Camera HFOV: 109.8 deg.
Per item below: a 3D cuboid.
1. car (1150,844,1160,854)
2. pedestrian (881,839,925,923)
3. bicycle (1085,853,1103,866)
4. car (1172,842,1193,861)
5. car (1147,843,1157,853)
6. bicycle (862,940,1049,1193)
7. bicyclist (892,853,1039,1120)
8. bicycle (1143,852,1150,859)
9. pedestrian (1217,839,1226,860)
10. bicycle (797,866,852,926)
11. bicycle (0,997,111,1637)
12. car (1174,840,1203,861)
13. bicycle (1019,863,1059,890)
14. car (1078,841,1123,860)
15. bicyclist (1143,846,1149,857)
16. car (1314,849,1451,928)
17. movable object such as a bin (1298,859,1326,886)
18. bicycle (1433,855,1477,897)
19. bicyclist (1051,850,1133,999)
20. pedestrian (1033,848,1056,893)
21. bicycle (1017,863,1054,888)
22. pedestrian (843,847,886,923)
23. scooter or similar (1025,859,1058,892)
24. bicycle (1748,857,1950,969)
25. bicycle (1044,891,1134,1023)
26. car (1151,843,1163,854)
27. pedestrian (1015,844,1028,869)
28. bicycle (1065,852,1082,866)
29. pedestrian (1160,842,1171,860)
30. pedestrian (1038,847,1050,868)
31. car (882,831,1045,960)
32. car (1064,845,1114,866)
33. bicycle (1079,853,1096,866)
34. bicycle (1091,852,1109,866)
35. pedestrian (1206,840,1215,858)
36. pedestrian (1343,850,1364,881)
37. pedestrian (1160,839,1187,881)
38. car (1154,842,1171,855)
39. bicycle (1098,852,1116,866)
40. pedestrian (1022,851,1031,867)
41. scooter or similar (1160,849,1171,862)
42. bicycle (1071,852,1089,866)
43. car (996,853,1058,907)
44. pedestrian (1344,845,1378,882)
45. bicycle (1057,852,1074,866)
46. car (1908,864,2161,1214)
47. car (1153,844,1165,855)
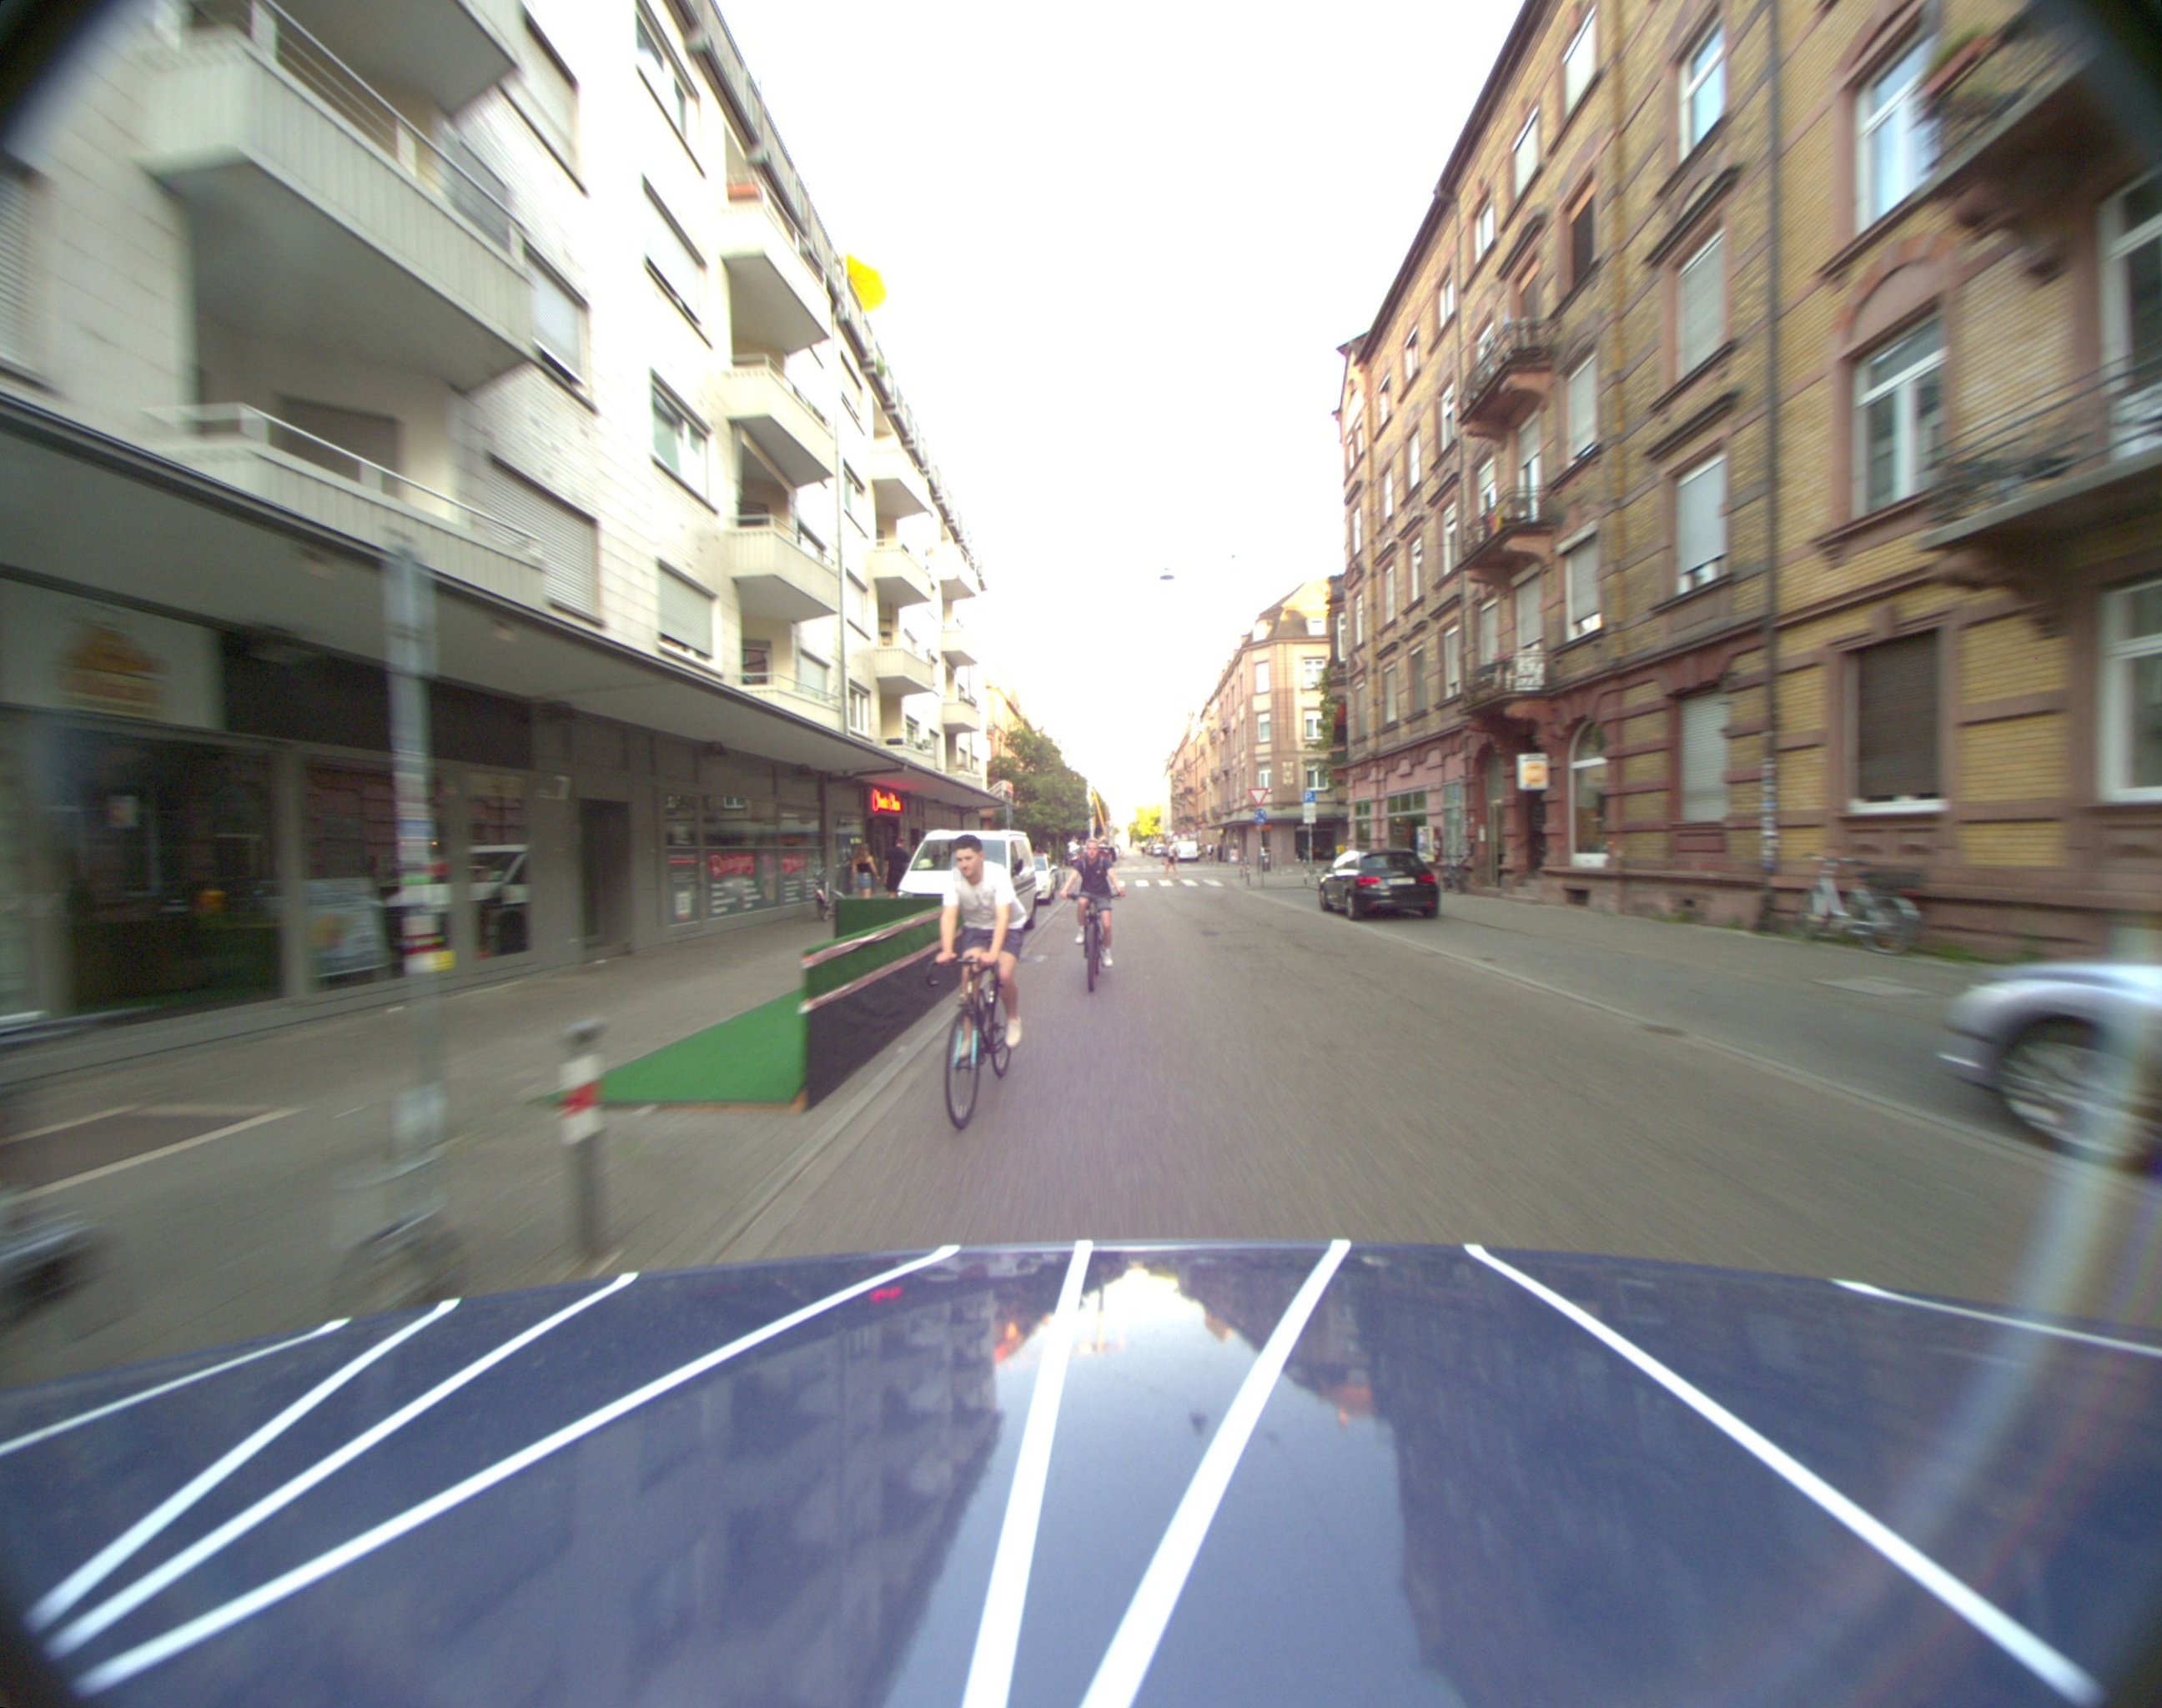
[{"bbox_3d":[14.556,-1.035,148.679,1.867,1.729,3.800,-2,2,6],"label":"car"},{"bbox_3d":[-3.932,0.574,16.819,0.710,1.818,0.860,0,2,3],"label":"pedestrian"},{"bbox_3d":[1.123,0.460,65.025,0.666,1.125,2.111,0,1,-24],"label":"bicycle"},{"bbox_3d":[10.614,-0.295,79.752,1.879,1.893,4.327,-2,1,4],"label":"car"},{"bbox_3d":[14.413,-1.234,154.443,1.907,1.729,3.850,-2,2,6],"label":"car"},{"bbox_3d":[-0.681,1.200,4.836,0.657,1.012,1.918,-2,2,6],"label":"bicycle"},{"bbox_3d":[-0.689,0.771,4.837,0.650,1.500,0.953,-2,2,6],"label":"bicyclist"},{"bbox_3d":[9.920,0.244,115.328,0.754,1.124,1.975,-2,0,-3],"label":"bicycle"},{"bbox_3d":[12.138,-0.354,65.628,0.654,1.768,0.693,-2,0,21],"label":"pedestrian"},{"bbox_3d":[-5.582,0.882,16.636,0.913,1.189,1.709,0,1,-10],"label":"bicycle"},{"bbox_3d":[-3.281,1.145,2.091,1.939,1.128,0.658,2,2,40],"label":"bicycle"},{"bbox_3d":[10.373,-0.365,73.615,2.141,1.947,4.769,-2,1,2],"label":"car"},{"bbox_3d":[-1.637,0.867,29.802,1.481,0.996,0.511,0,2,10],"label":"bicycle"},{"bbox_3d":[2.435,-0.510,96.412,5.151,2.182,2.334,-3,2,-22],"label":"car"},{"bbox_3d":[9.897,-0.334,115.323,0.754,1.631,1.201,-2,0,-3],"label":"bicyclist"},{"bbox_3d":[6.269,0.640,16.232,1.697,1.412,3.856,-2,0,6],"label":"car"},{"bbox_3d":[8.333,0.666,27.440,0.763,0.910,0.729,-2,2,0],"label":"movable object such as a bin"},{"bbox_3d":[10.001,0.562,20.383,0.426,1.047,1.899,-2,1,7],"label":"bicycle"},{"bbox_3d":[0.143,0.750,8.512,0.793,1.562,0.826,-3,0,5],"label":"bicyclist"},{"bbox_3d":[-1.341,0.593,27.886,0.648,1.591,0.590,-1,2,-37],"label":"pedestrian"},{"bbox_3d":[-1.805,0.857,30.289,1.421,0.978,0.510,0,2,0],"label":"bicycle"},{"bbox_3d":[-4.844,0.674,17.042,0.710,1.656,0.744,0,2,3],"label":"pedestrian"},{"bbox_3d":[-1.423,0.786,27.631,0.535,1.164,1.166,-1,-1,43],"label":"scooter or similar"},{"bbox_3d":[9.248,0.645,9.285,0.528,1.164,2.048,-3,0,6],"label":"bicycle"},{"bbox_3d":[0.157,1.056,8.511,0.793,1.133,2.344,-3,0,5],"label":"bicycle"},{"bbox_3d":[13.440,-0.912,133.626,1.997,1.729,4.001,-2,2,6],"label":"car"},{"bbox_3d":[-4.515,0.205,57.732,0.673,1.858,0.911,-2,2,17],"label":"pedestrian"},{"bbox_3d":[-0.622,0.422,64.127,0.666,1.158,2.111,0,1,-24],"label":"bicycle"},{"bbox_3d":[7.597,-0.257,68.272,0.809,1.650,0.672,-1,1,-4],"label":"pedestrian"},{"bbox_3d":[-2.785,0.281,57.416,0.537,1.597,0.870,-1,0,30],"label":"pedestrian"},{"bbox_3d":[-1.938,0.618,14.199,1.963,1.962,5.003,0,0,4],"label":"car"},{"bbox_3d":[0.694,0.093,67.809,4.005,1.659,1.823,-3,2,-28],"label":"car"},{"bbox_3d":[0.531,0.452,64.711,0.666,1.125,2.111,0,1,-24],"label":"bicycle"},{"bbox_3d":[1.634,0.449,65.467,0.666,1.162,2.111,0,1,-24],"label":"bicycle"},{"bbox_3d":[12.412,-0.494,72.729,0.748,1.734,1.213,-2,1,6],"label":"pedestrian"},{"bbox_3d":[10.189,0.425,28.438,0.504,1.137,0.791,-2,2,5],"label":"pedestrian"},{"bbox_3d":[4.103,0.255,33.758,1.047,1.800,0.757,-3,-1,14],"label":"pedestrian"},{"bbox_3d":[12.217,-0.795,114.141,2.140,1.811,4.541,-2,1,4],"label":"car"},{"bbox_3d":[2.193,0.453,65.310,0.666,1.162,2.111,0,1,-24],"label":"bicycle"},{"bbox_3d":[-4.460,0.396,62.154,0.641,1.265,0.674,-3,2,-11],"label":"pedestrian"},{"bbox_3d":[7.603,0.125,68.279,0.809,1.098,1.171,-1,1,-4],"label":"scooter or similar"},{"bbox_3d":[-0.083,0.436,64.386,0.666,1.125,2.111,0,1,-24],"label":"bicycle"},{"bbox_3d":[-1.592,0.732,23.337,1.596,1.492,3.423,0,1,1],"label":"car"},{"bbox_3d":[10.091,0.348,27.405,0.650,1.247,0.907,-5,1,-12],"label":"pedestrian"},{"bbox_3d":[-1.300,0.408,63.851,0.666,1.158,2.111,0,1,-24],"label":"bicycle"},{"bbox_3d":[5.399,0.819,1.942,1.726,1.412,4.582,-3,1,3],"label":"car"},{"bbox_3d":[13.175,-0.821,128.610,1.997,1.729,4.001,-2,2,6],"label":"car"}]
